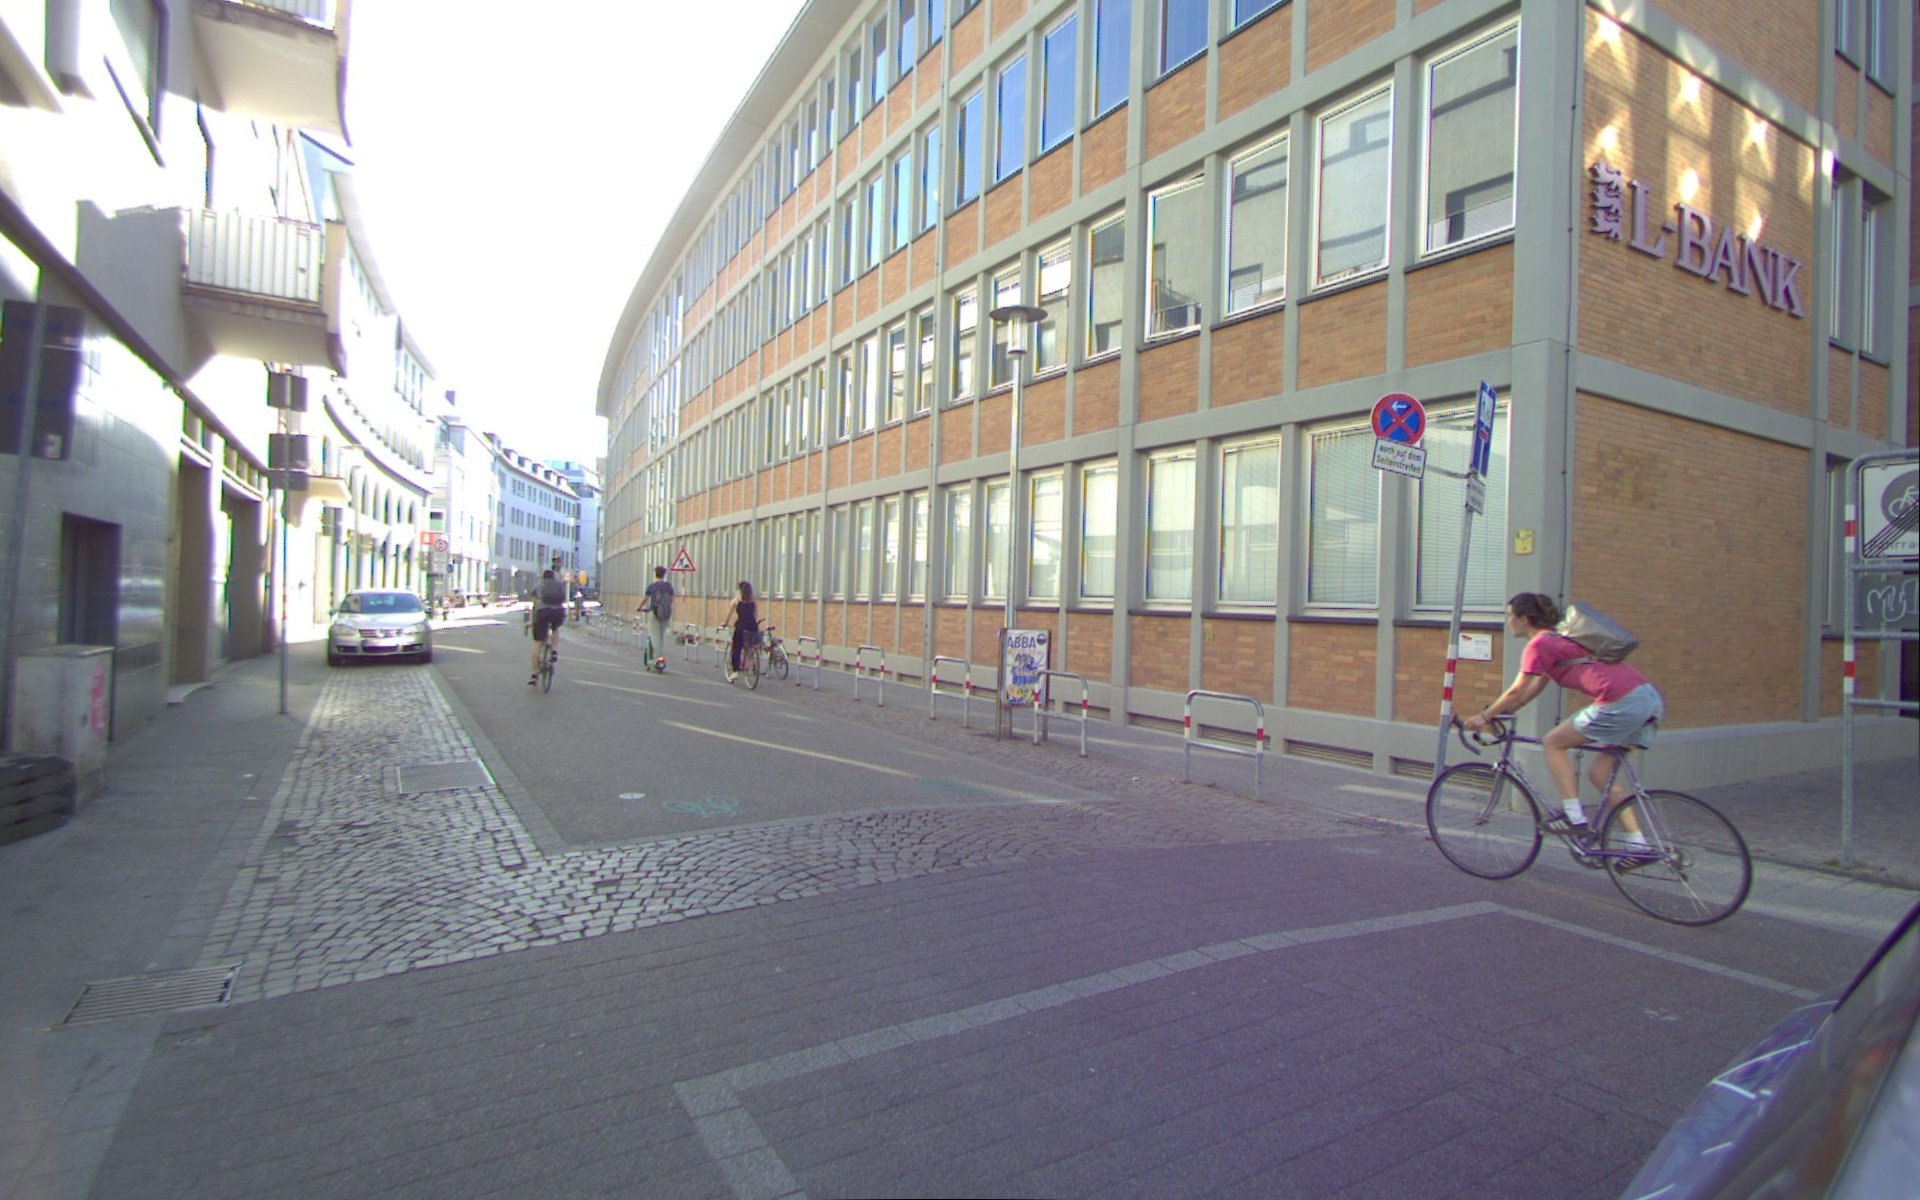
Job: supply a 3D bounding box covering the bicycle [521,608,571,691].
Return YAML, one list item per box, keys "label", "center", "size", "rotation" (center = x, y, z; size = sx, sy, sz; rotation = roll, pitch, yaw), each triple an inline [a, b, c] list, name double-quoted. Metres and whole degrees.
- label: "bicycle"
  center: [-5.961, 0.675, 14.517]
  size: [0.562, 1.064, 1.839]
  rotation: [0, 1, -25]

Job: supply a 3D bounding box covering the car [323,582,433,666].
- label: "car"
  center: [-11.572, 0.384, 20.205]
  size: [1.735, 1.488, 3.817]
  rotation: [-1, 1, -29]

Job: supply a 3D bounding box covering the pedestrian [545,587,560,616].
- label: "pedestrian"
  center: [-21.260, 0.071, 52.784]
  size: [0.646, 1.459, 0.596]
  rotation: [2, 0, -28]

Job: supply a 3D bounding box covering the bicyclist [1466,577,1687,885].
- label: "bicyclist"
  center: [3.310, 0.645, 5.480]
  size: [0.420, 1.517, 0.876]
  rotation: [4, -1, -31]

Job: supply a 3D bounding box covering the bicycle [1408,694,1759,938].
- label: "bicycle"
  center: [3.289, 1.078, 5.495]
  size: [0.427, 0.969, 1.592]
  rotation: [2, 0, -31]

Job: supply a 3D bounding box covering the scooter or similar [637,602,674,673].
- label: "scooter or similar"
  center: [-5.583, 0.669, 18.516]
  size: [0.330, 1.201, 1.281]
  rotation: [4, -1, -28]

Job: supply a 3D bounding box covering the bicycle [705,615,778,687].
- label: "bicycle"
  center: [-3.608, 0.814, 16.628]
  size: [0.579, 1.065, 1.802]
  rotation: [4, -1, -31]

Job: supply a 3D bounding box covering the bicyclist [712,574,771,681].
- label: "bicyclist"
  center: [-3.595, 0.446, 16.638]
  size: [0.607, 1.688, 0.824]
  rotation: [5, -2, -30]

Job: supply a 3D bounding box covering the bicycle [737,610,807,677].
- label: "bicycle"
  center: [-3.531, 0.783, 18.908]
  size: [0.625, 1.130, 1.932]
  rotation: [1, 0, -31]

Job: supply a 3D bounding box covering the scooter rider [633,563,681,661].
- label: "scooter rider"
  center: [-5.522, 0.206, 18.450]
  size: [0.636, 1.748, 0.703]
  rotation: [2, 1, -31]

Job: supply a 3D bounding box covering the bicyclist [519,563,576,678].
- label: "bicyclist"
  center: [-5.906, 0.280, 14.471]
  size: [0.636, 1.578, 1.111]
  rotation: [1, 0, -26]
